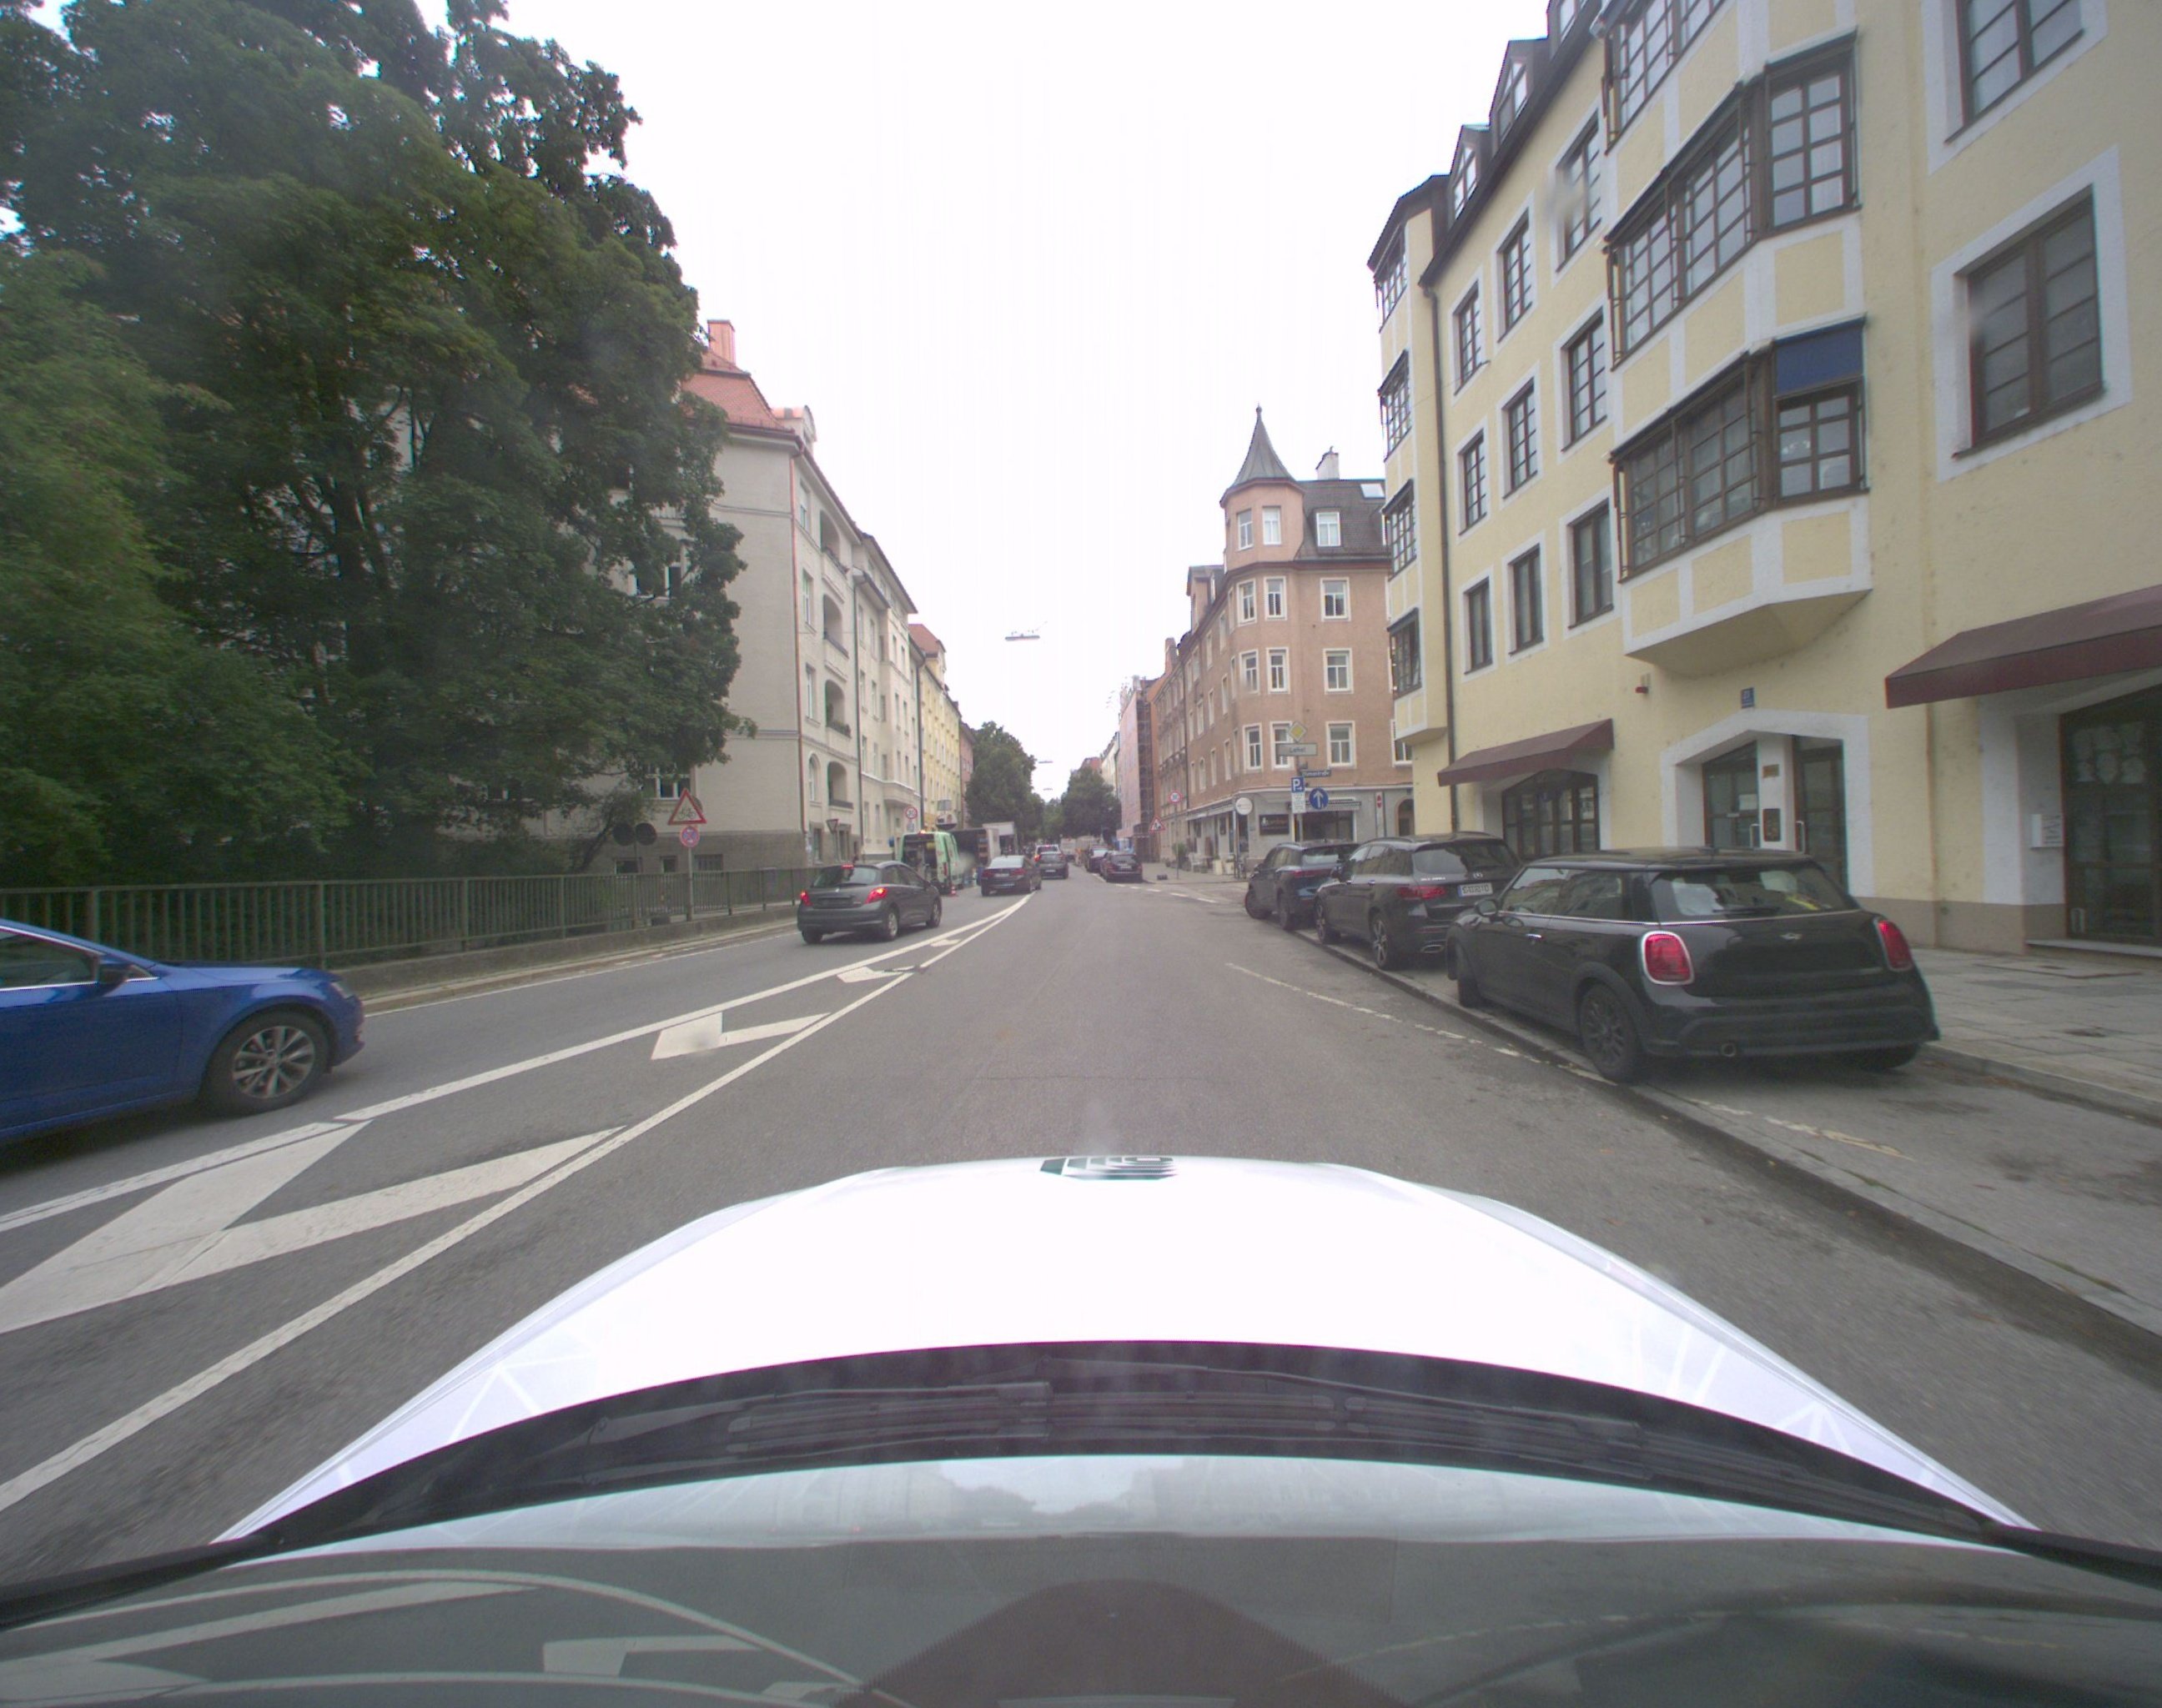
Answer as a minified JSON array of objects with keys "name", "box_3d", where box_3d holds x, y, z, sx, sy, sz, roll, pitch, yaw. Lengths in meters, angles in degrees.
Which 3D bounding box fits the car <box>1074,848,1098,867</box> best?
[{"name":"car","box_3d":[0.390,0.291,72.132,1.984,1.429,4.139,-2,1,-1]}]

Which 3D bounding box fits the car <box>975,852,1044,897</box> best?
[{"name":"car","box_3d":[-2.671,0.737,31.503,1.982,1.429,4.909,-2,1,2]}]

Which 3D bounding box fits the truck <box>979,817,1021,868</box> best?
[{"name":"truck","box_3d":[-6.679,-0.913,68.243,3.005,3.951,6.988,-2,0,-3]}]

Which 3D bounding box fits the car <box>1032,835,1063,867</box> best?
[{"name":"car","box_3d":[-2.316,-0.243,57.468,1.984,2.075,4.139,-2,1,-1]}]

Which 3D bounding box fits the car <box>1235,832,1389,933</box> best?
[{"name":"car","box_3d":[4.545,0.492,16.752,1.813,1.679,4.510,-4,0,0]}]

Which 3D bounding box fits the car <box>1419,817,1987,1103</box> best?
[{"name":"car","box_3d":[4.223,0.580,6.430,1.748,1.496,3.829,-4,0,5]}]

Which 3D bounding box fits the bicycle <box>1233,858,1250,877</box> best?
[{"name":"bicycle","box_3d":[6.947,0.569,35.312,0.455,0.805,1.327,-2,0,1]}]

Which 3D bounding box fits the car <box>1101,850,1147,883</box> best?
[{"name":"car","box_3d":[2.054,0.570,39.770,1.840,1.429,4.180,1,1,-3]}]

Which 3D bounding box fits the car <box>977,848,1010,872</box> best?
[{"name":"car","box_3d":[-6.453,0.418,60.515,1.984,1.610,4.139,-2,0,-1]}]

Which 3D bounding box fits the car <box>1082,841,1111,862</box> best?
[{"name":"car","box_3d":[1.151,-0.214,62.358,1.984,1.429,4.139,-2,1,-1]}]

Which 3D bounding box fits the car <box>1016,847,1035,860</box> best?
[{"name":"car","box_3d":[-6.480,-0.045,95.368,1.935,1.448,3.863,-2,0,-2]}]

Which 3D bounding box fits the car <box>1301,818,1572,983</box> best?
[{"name":"car","box_3d":[4.469,0.486,11.139,1.749,1.679,4.710,-4,0,2]}]

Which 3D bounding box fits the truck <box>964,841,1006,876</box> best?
[{"name":"truck","box_3d":[-6.200,0.265,53.316,2.281,2.171,4.803,-2,0,-2]}]

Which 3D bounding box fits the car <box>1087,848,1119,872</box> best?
[{"name":"car","box_3d":[1.456,0.361,54.578,1.840,1.429,4.303,1,1,-3]}]

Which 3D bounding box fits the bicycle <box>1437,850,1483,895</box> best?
[{"name":"bicycle","box_3d":[8.834,0.411,19.044,0.270,0.977,1.684,-1,0,-1]}]

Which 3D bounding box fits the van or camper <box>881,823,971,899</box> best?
[{"name":"van or camper","box_3d":[-6.437,0.188,34.720,2.593,2.840,6.184,-2,1,-1]}]

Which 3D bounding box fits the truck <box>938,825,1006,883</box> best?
[{"name":"truck","box_3d":[-5.893,-0.089,45.138,2.765,2.872,7.199,-2,1,-1]}]

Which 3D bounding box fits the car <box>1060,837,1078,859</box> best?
[{"name":"car","box_3d":[-1.412,-0.670,94.894,1.933,2.480,4.782,-2,0,0]}]

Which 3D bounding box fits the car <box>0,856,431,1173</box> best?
[{"name":"car","box_3d":[-6.113,0.812,3.705,1.975,1.454,4.748,-2,0,10]}]

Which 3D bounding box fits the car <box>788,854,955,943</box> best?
[{"name":"car","box_3d":[-3.990,0.787,16.260,1.749,1.461,4.083,-2,0,8]}]

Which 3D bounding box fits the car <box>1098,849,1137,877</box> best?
[{"name":"car","box_3d":[2.003,0.451,45.960,1.840,1.429,4.137,1,1,-3]}]

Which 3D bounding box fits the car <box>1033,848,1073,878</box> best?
[{"name":"car","box_3d":[-1.448,0.437,43.952,1.984,1.429,4.139,-2,1,-1]}]

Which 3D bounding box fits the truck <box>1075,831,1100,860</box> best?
[{"name":"truck","box_3d":[0.667,-0.893,88.202,2.485,2.973,5.324,-2,0,-2]}]
